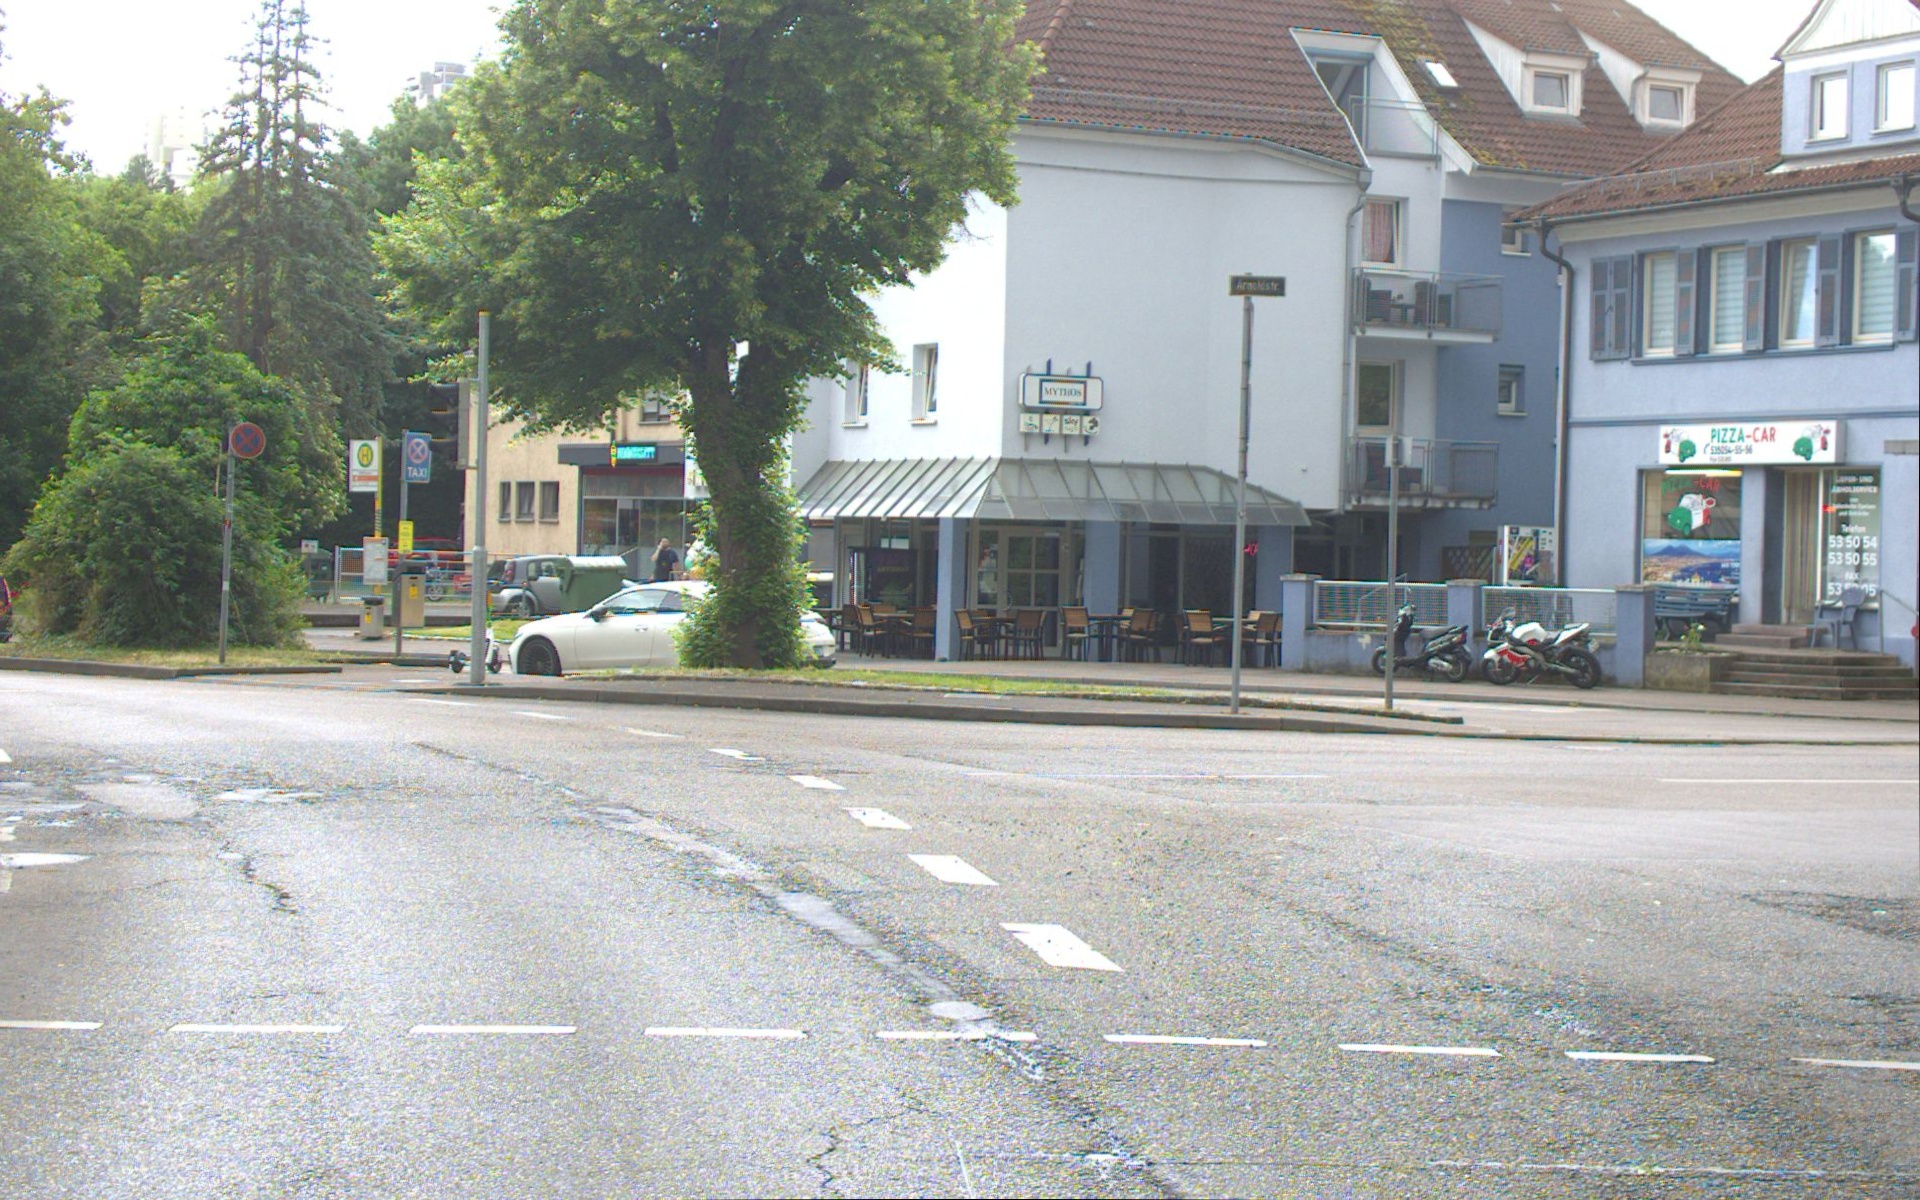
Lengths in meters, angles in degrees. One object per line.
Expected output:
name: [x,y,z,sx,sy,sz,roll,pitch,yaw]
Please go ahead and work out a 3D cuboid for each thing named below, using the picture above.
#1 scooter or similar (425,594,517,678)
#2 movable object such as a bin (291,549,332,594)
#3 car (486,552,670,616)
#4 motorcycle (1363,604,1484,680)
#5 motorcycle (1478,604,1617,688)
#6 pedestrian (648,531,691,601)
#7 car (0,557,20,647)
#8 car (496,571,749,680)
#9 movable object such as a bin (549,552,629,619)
scooter or similar: [-6.058,0.438,42.644,0.417,1.008,1.565,1,1,20]
movable object such as a bin: [-16.246,-0.715,86.161,0.950,1.111,0.383,1,1,-21]
car: [-8.424,-0.352,75.866,3.733,1.340,1.434,1,1,-26]
motorcycle: [6.753,0.603,50.153,1.636,1.060,0.693,2,1,44]
motorcycle: [8.258,0.640,48.374,1.798,1.118,0.693,2,1,38]
pedestrian: [-6.497,-0.760,76.855,0.676,1.539,0.708,1,1,-34]
car: [-16.513,-0.003,53.716,3.590,1.389,1.469,2,1,32]
car: [-4.530,0.323,46.037,3.171,1.350,1.436,2,1,35]
movable object such as a bin: [-7.982,-0.310,73.969,1.440,1.404,0.967,1,1,-27]
